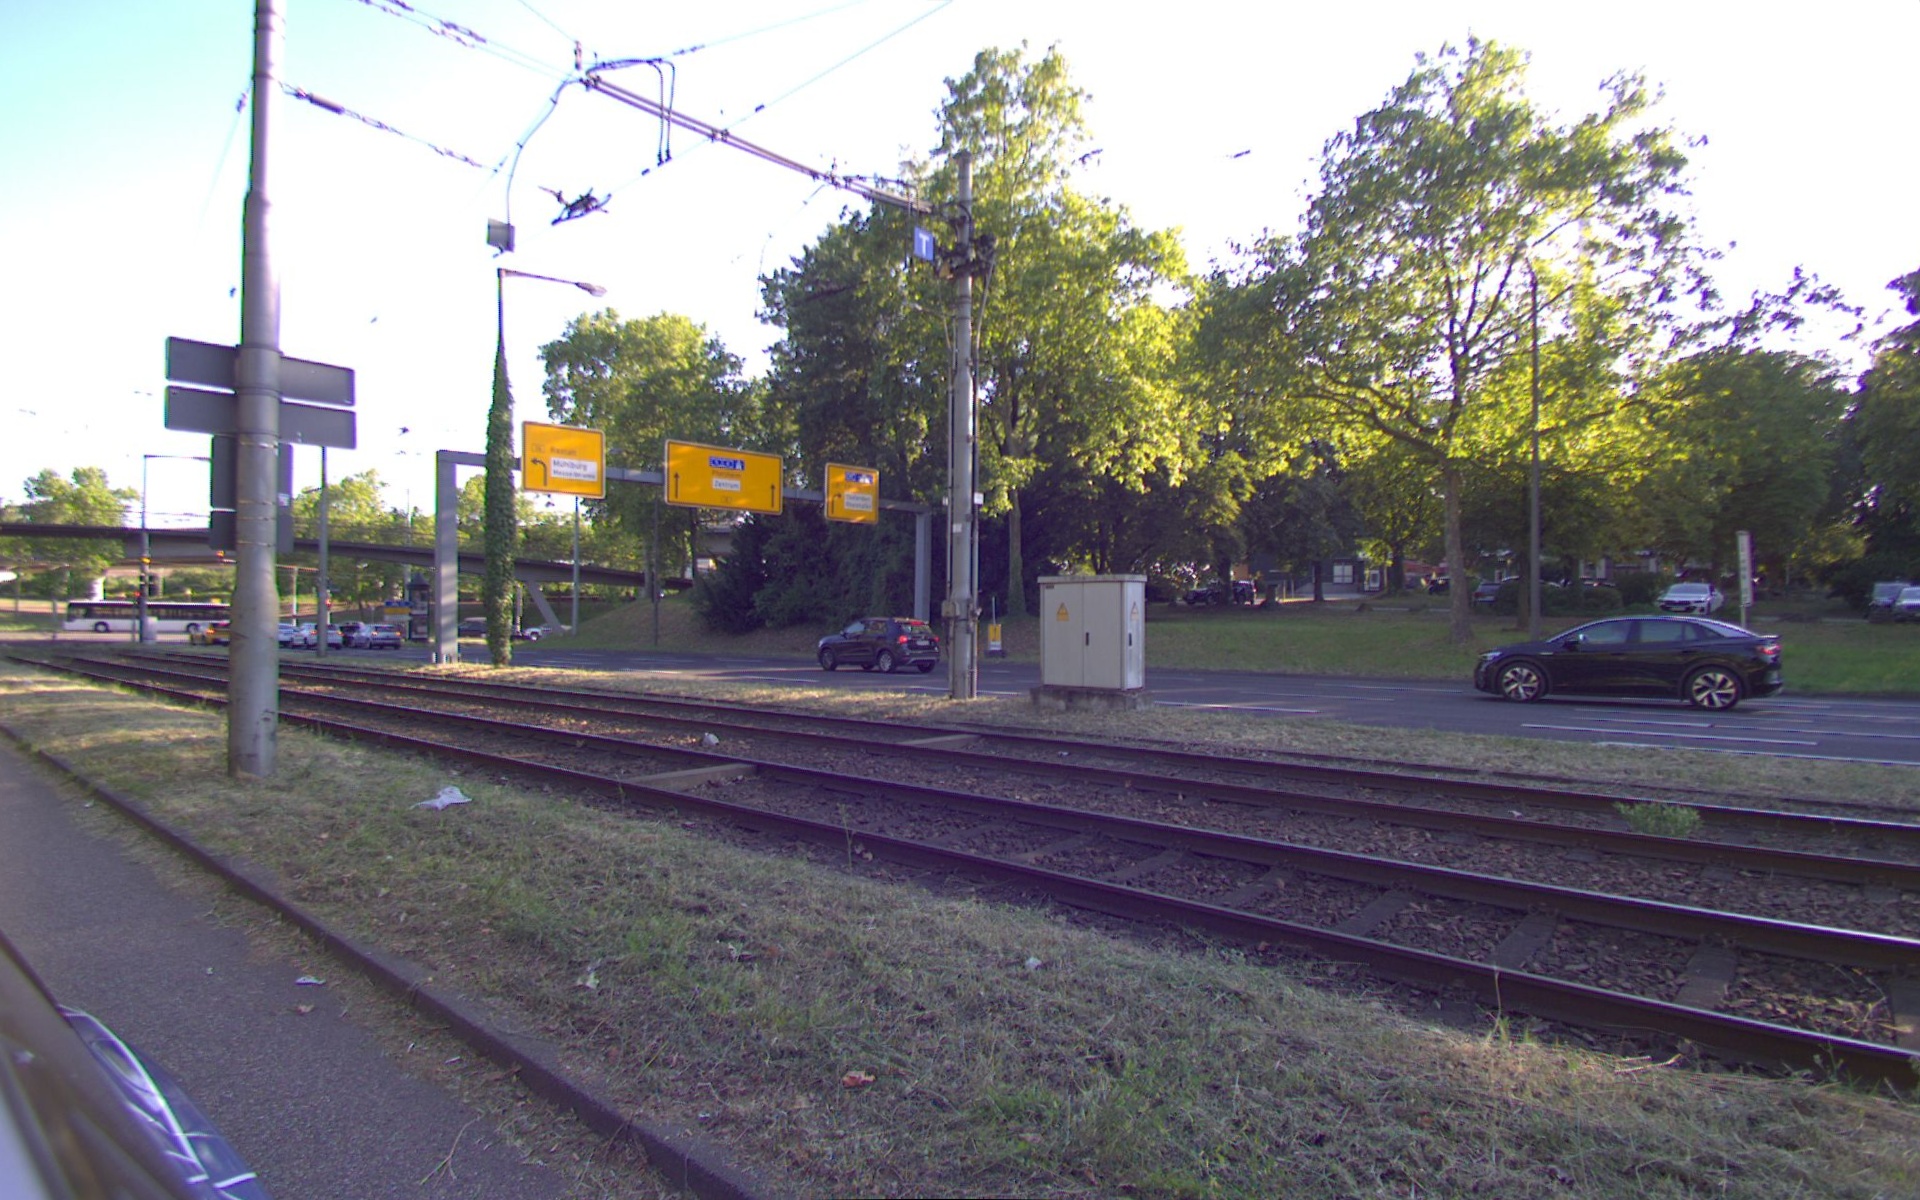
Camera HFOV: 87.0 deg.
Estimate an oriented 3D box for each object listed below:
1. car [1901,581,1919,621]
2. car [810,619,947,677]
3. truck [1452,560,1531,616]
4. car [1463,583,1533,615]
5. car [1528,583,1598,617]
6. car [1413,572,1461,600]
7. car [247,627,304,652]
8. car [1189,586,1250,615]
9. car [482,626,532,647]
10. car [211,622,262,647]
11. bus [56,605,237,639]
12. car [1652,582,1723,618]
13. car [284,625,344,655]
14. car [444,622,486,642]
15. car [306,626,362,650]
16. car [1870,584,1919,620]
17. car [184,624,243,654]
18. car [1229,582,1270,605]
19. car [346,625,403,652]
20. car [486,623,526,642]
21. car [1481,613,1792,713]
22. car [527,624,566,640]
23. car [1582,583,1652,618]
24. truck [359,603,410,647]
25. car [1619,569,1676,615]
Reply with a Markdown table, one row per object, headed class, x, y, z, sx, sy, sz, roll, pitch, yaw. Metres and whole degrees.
| class | x | y | z | sx | sy | sz | roll | pitch | yaw |
| --- | --- | --- | --- | --- | --- | --- | --- | --- | --- |
| car | 37.577 | 0.016 | 38.902 | 1.942 | 1.521 | 4.039 | 0 | 0 | 44 |
| car | -2.398 | 1.347 | 29.188 | 3.973 | 1.569 | 1.732 | -2 | -3 | 43 |
| truck | 31.739 | -0.712 | 60.294 | 2.503 | 3.191 | 6.137 | 0 | 0 | 45 |
| car | 26.166 | -0.064 | 49.195 | 1.942 | 1.521 | 4.039 | 0 | 0 | 44 |
| car | 28.422 | -0.005 | 47.666 | 1.942 | 1.521 | 4.039 | 0 | 0 | 44 |
| car | 33.552 | -1.021 | 71.070 | 2.290 | 1.864 | 5.214 | -1 | 1 | 34 |
| car | -40.578 | 2.322 | 59.963 | 4.226 | 1.435 | 1.893 | -1 | -1 | 42 |
| car | 15.391 | 0.040 | 59.966 | 1.791 | 1.657 | 3.942 | -1 | -1 | 44 |
| car | -39.229 | 3.122 | 87.659 | 3.931 | 1.668 | 1.790 | -1 | 0 | -26 |
| car | -45.841 | 2.170 | 64.053 | 4.228 | 1.561 | 1.892 | -1 | -2 | 44 |
| bus | -75.924 | 1.970 | 94.904 | 12.967 | 2.884 | 2.424 | -1 | 0 | -29 |
| car | 31.558 | -0.017 | 43.854 | 1.942 | 1.521 | 4.039 | 0 | 0 | 44 |
| car | -35.744 | 2.191 | 55.965 | 3.997 | 1.556 | 1.744 | -1 | -1 | 40 |
| car | -50.798 | 3.256 | 103.946 | 3.748 | 1.872 | 1.682 | -1 | 0 | -30 |
| car | -39.766 | 2.410 | 64.238 | 4.224 | 1.435 | 1.844 | -1 | -1 | 40 |
| car | 43.965 | 0.072 | 47.235 | 3.998 | 1.628 | 1.864 | -1 | 0 | -43 |
| car | -40.807 | 2.111 | 55.264 | 3.997 | 1.556 | 1.744 | -1 | -1 | 40 |
| car | 19.937 | -0.428 | 69.767 | 1.650 | 1.474 | 3.726 | -1 | 0 | -1 |
| car | -34.971 | 2.264 | 60.428 | 3.998 | 1.556 | 1.789 | -1 | -1 | 41 |
| car | -48.716 | 3.443 | 108.622 | 3.748 | 1.872 | 1.682 | -1 | 0 | -30 |
| car | 11.625 | 1.022 | 17.695 | 4.322 | 1.556 | 1.717 | -1 | -2 | 34 |
| car | -43.889 | 3.383 | 107.346 | 3.747 | 1.591 | 1.683 | -1 | 0 | -26 |
| car | 30.031 | -0.014 | 46.229 | 1.942 | 1.521 | 4.039 | 0 | 0 | 44 |
| truck | -40.307 | 1.725 | 70.776 | 2.248 | 2.901 | 6.895 | 0 | -1 | -37 |
| car | 36.882 | -0.423 | 54.248 | 2.161 | 2.320 | 4.348 | 0 | 0 | 40 |
